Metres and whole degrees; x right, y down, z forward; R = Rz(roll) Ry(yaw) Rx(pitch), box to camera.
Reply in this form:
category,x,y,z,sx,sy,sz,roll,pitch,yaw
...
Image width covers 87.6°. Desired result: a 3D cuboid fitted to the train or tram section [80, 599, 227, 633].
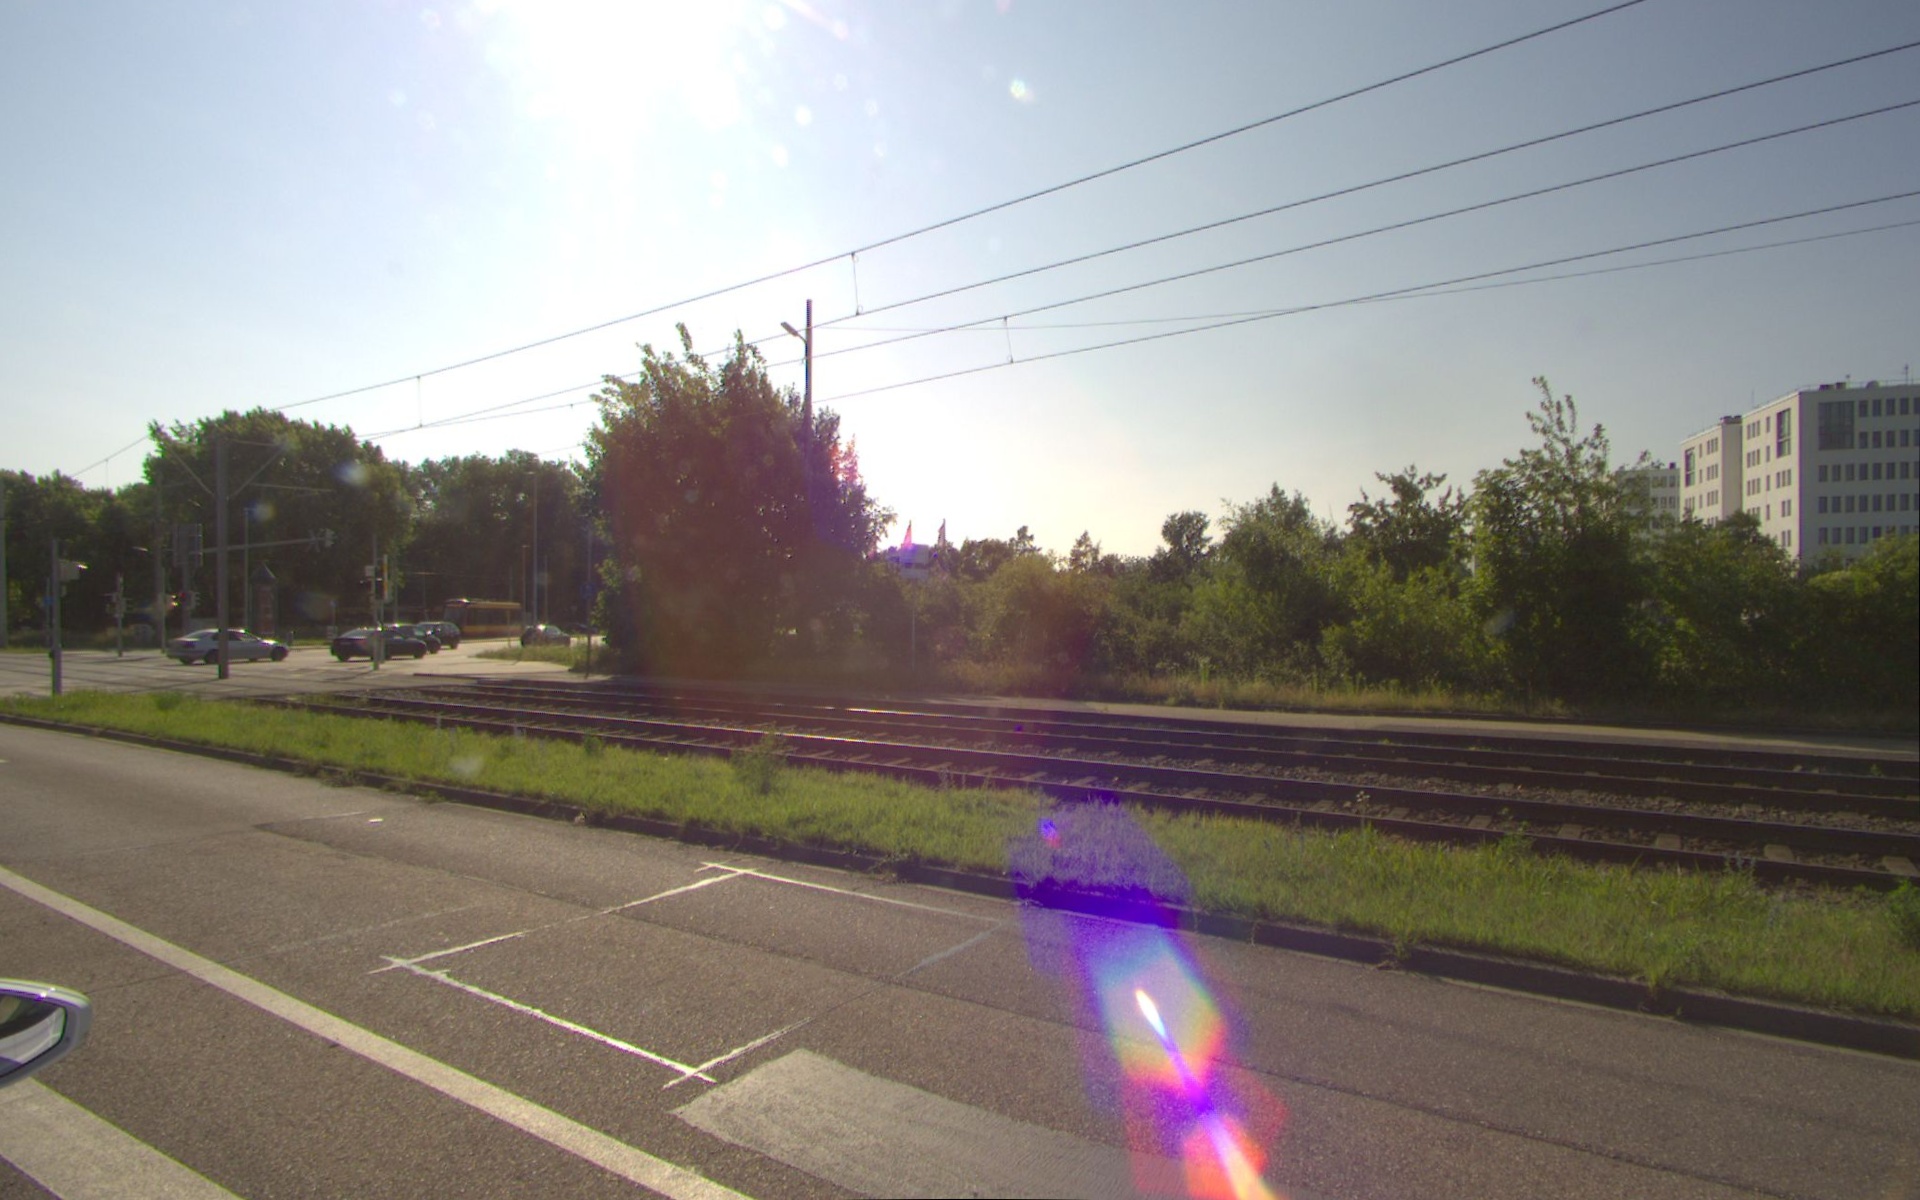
category,x,y,z,sx,sy,sz,roll,pitch,yaw
train or tram section,-88.980,1.768,110.798,12.249,3.626,3.041,0,-1,-27

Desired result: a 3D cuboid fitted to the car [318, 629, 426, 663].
category,x,y,z,sx,sy,sz,roll,pitch,yaw
car,-26.244,2.021,44.878,1.961,1.371,4.408,0,-1,6

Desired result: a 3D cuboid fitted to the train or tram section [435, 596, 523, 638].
category,x,y,z,sx,sy,sz,roll,pitch,yaw
train or tram section,-44.512,1.578,93.134,2.995,3.626,11.853,0,-1,-3

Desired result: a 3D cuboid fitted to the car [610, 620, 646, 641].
category,x,y,z,sx,sy,sz,roll,pitch,yaw
car,-27.801,2.519,83.987,1.961,1.686,4.633,0,-1,-6

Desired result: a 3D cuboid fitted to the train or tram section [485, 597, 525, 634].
category,x,y,z,sx,sy,sz,roll,pitch,yaw
train or tram section,-47.651,1.636,104.605,3.009,3.626,12.174,0,-1,-28

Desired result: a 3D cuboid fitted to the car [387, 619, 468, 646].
category,x,y,z,sx,sy,sz,roll,pitch,yaw
car,-31.890,1.932,60.121,2.005,1.583,4.863,0,-1,5

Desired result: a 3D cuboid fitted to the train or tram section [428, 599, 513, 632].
category,x,y,z,sx,sy,sz,roll,pitch,yaw
train or tram section,-55.559,1.755,113.436,12.061,3.626,3.037,-1,-1,34

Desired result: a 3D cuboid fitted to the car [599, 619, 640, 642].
category,x,y,z,sx,sy,sz,roll,pitch,yaw
car,-26.155,2.305,77.140,1.961,1.686,4.633,0,-1,-6

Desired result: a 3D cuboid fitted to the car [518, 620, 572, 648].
category,x,y,z,sx,sy,sz,roll,pitch,yaw
car,-26.538,2.139,64.162,1.961,1.686,4.633,0,-1,-6

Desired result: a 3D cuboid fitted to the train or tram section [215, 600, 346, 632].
category,x,y,z,sx,sy,sz,roll,pitch,yaw
train or tram section,-78.216,1.871,115.612,12.027,3.626,3.045,0,-1,-22

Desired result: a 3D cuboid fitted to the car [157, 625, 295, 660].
category,x,y,z,sx,sy,sz,roll,pitch,yaw
car,-30.911,1.751,42.355,1.965,1.371,4.402,0,-1,19

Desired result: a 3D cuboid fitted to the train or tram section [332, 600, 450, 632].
category,x,y,z,sx,sy,sz,roll,pitch,yaw
train or tram section,-66.503,1.894,117.214,11.992,3.626,3.054,0,-1,-1
